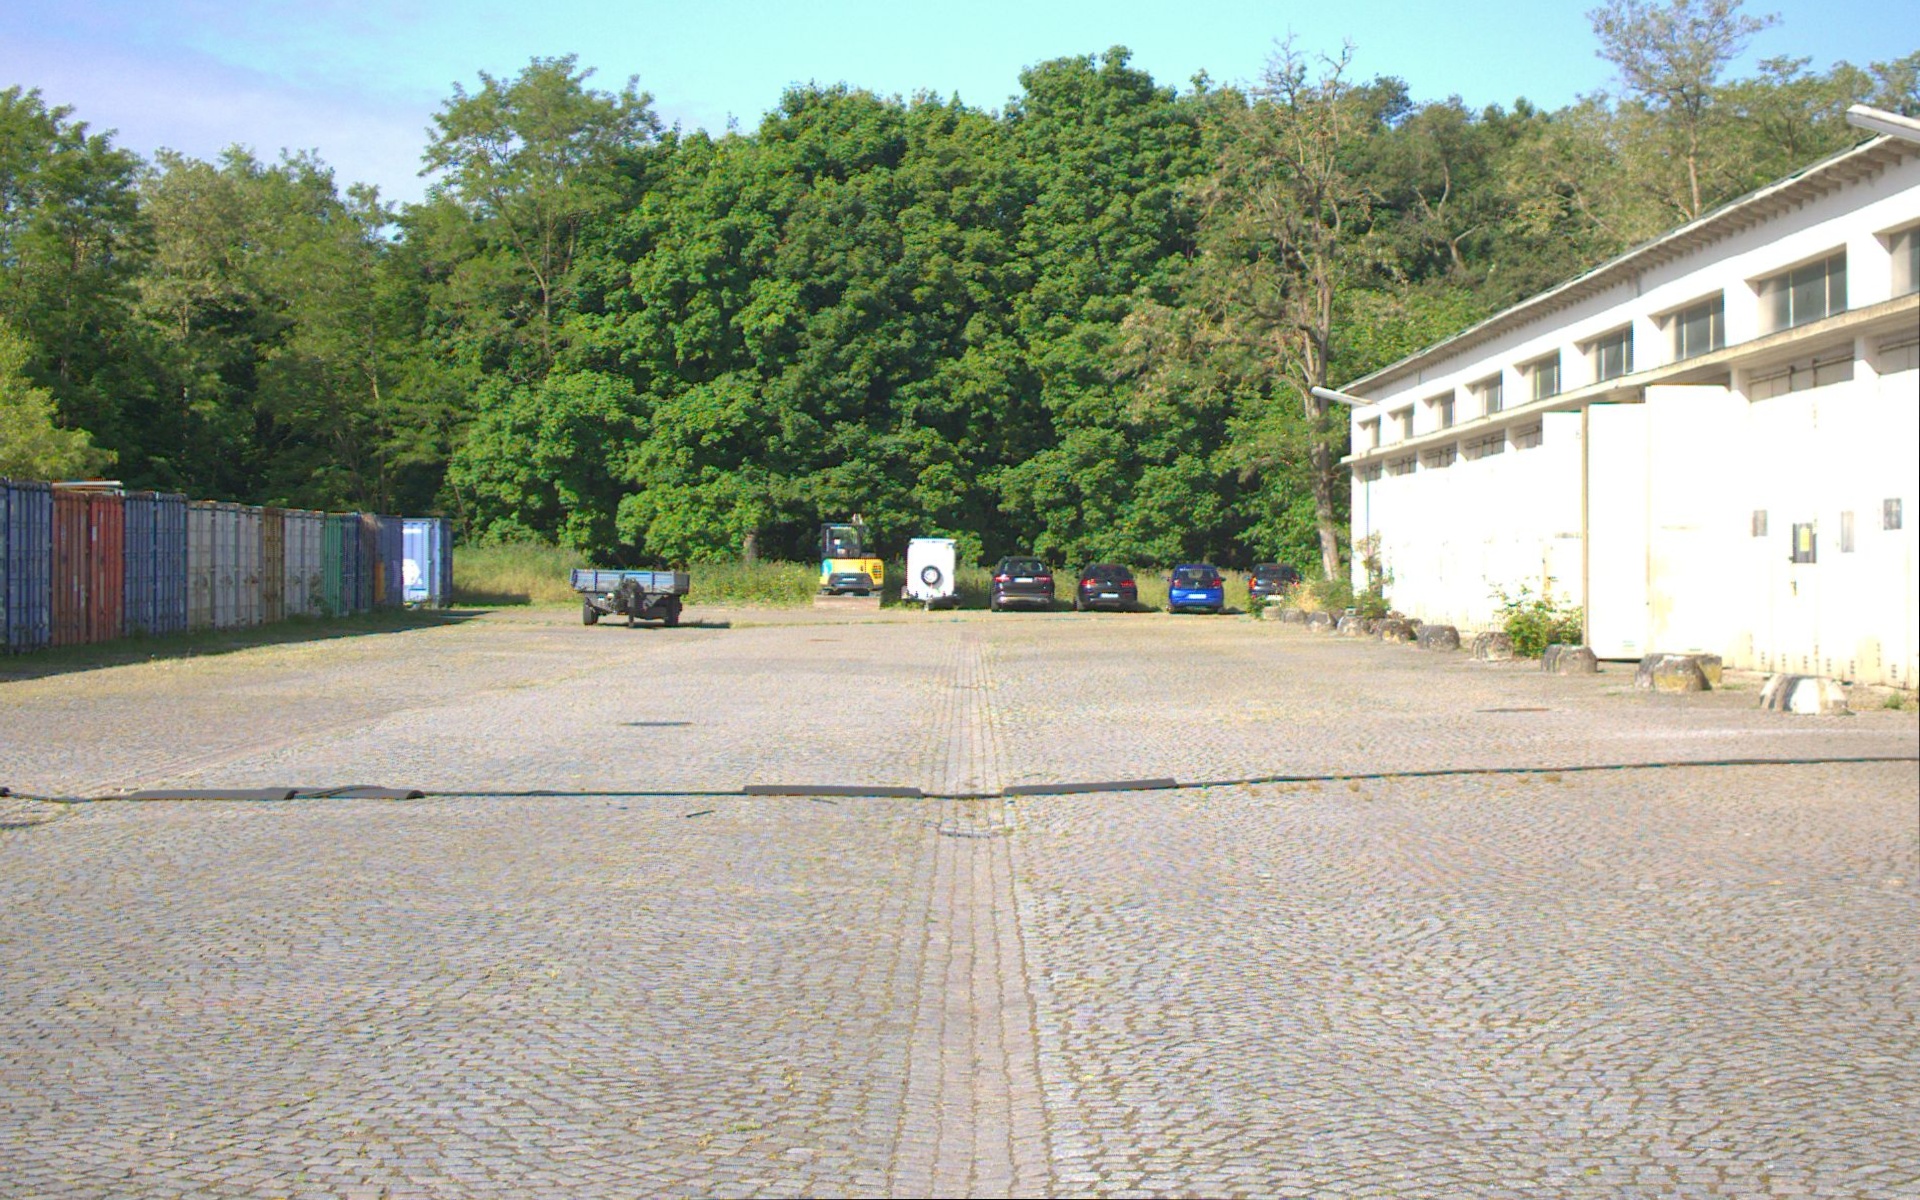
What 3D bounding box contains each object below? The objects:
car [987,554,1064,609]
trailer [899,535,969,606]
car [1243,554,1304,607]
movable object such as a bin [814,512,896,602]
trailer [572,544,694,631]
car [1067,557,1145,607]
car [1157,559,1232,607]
[{"bbox_3d":[1.967,-0.559,102.273,1.862,1.580,3.999,0,1,7],"label":"car"},{"bbox_3d":[-0.756,-0.893,103.990,1.794,2.083,3.971,0,1,4],"label":"trailer"},{"bbox_3d":[9.463,-0.601,103.635,1.686,1.558,3.999,0,1,7],"label":"car"},{"bbox_3d":[-3.153,-1.297,104.283,1.994,2.609,3.999,2,1,4],"label":"movable object such as a bin"},{"bbox_3d":[-8.044,-0.326,84.991,2.407,2.007,4.173,2,1,2],"label":"trailer"},{"bbox_3d":[4.355,-0.549,102.281,1.994,1.458,3.999,0,1,7],"label":"car"},{"bbox_3d":[7.009,-0.519,102.424,1.994,1.415,3.999,0,1,7],"label":"car"}]
